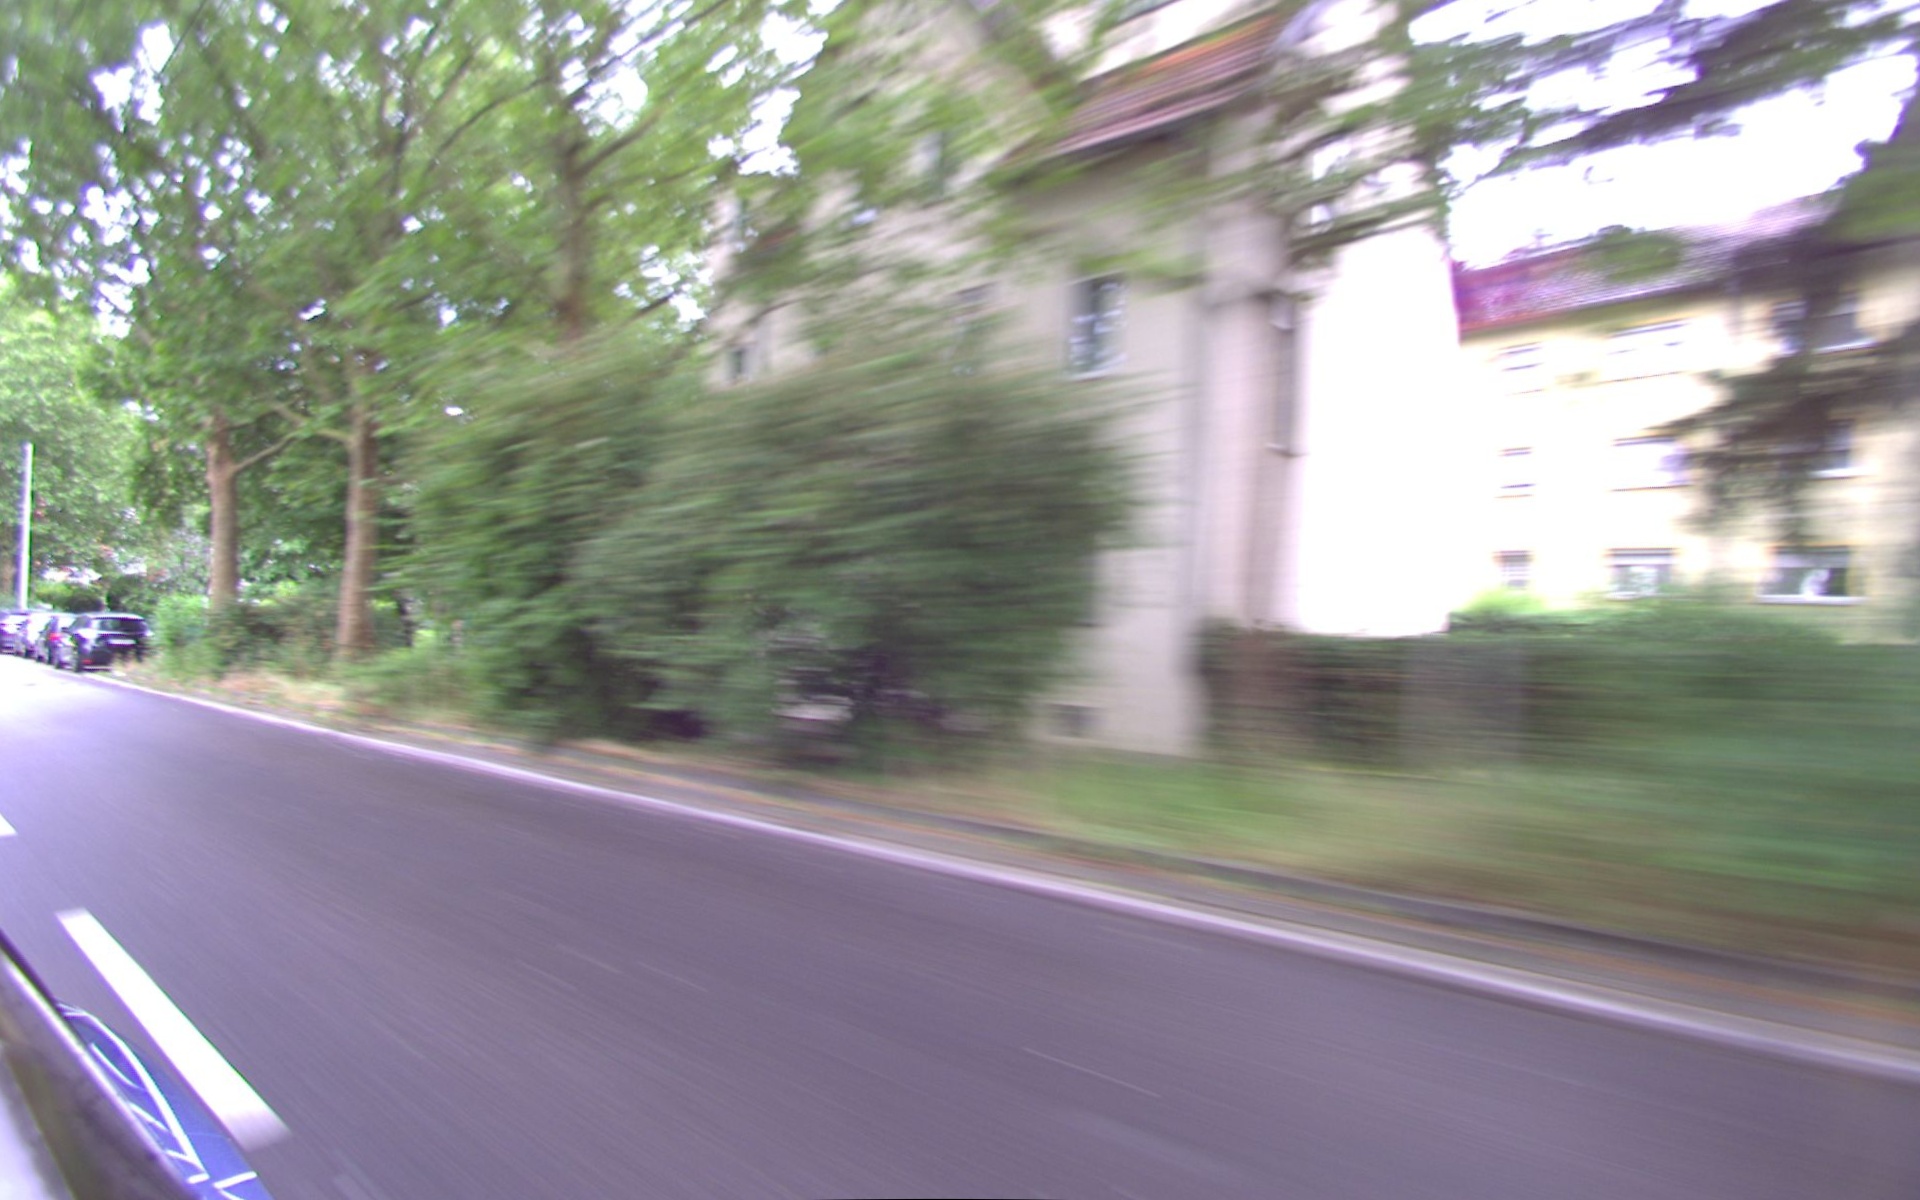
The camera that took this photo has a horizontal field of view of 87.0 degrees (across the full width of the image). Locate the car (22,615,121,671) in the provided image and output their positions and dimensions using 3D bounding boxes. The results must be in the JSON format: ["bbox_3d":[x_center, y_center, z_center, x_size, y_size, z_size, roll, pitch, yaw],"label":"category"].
[{"bbox_3d":[-26.786,1.281,30.469,3.872,1.519,1.654,-1,-5,42],"label":"car"}]

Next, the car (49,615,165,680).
[{"bbox_3d":[-22.600,1.238,26.776,4.016,1.549,1.630,0,-5,41],"label":"car"}]

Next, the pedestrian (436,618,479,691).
[{"bbox_3d":[-11.868,1.277,23.894,1.021,1.631,0.581,2,2,43],"label":"pedestrian"}]

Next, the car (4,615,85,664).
[{"bbox_3d":[-30.903,1.277,34.124,4.123,1.519,1.654,0,0,43],"label":"car"}]

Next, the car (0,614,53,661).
[{"bbox_3d":[-34.687,1.320,36.824,4.235,1.603,1.846,0,-4,40],"label":"car"}]

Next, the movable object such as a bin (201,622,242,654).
[{"bbox_3d":[-33.487,1.709,45.896,1.480,1.390,1.222,0,-2,44],"label":"movable object such as a bin"}]
